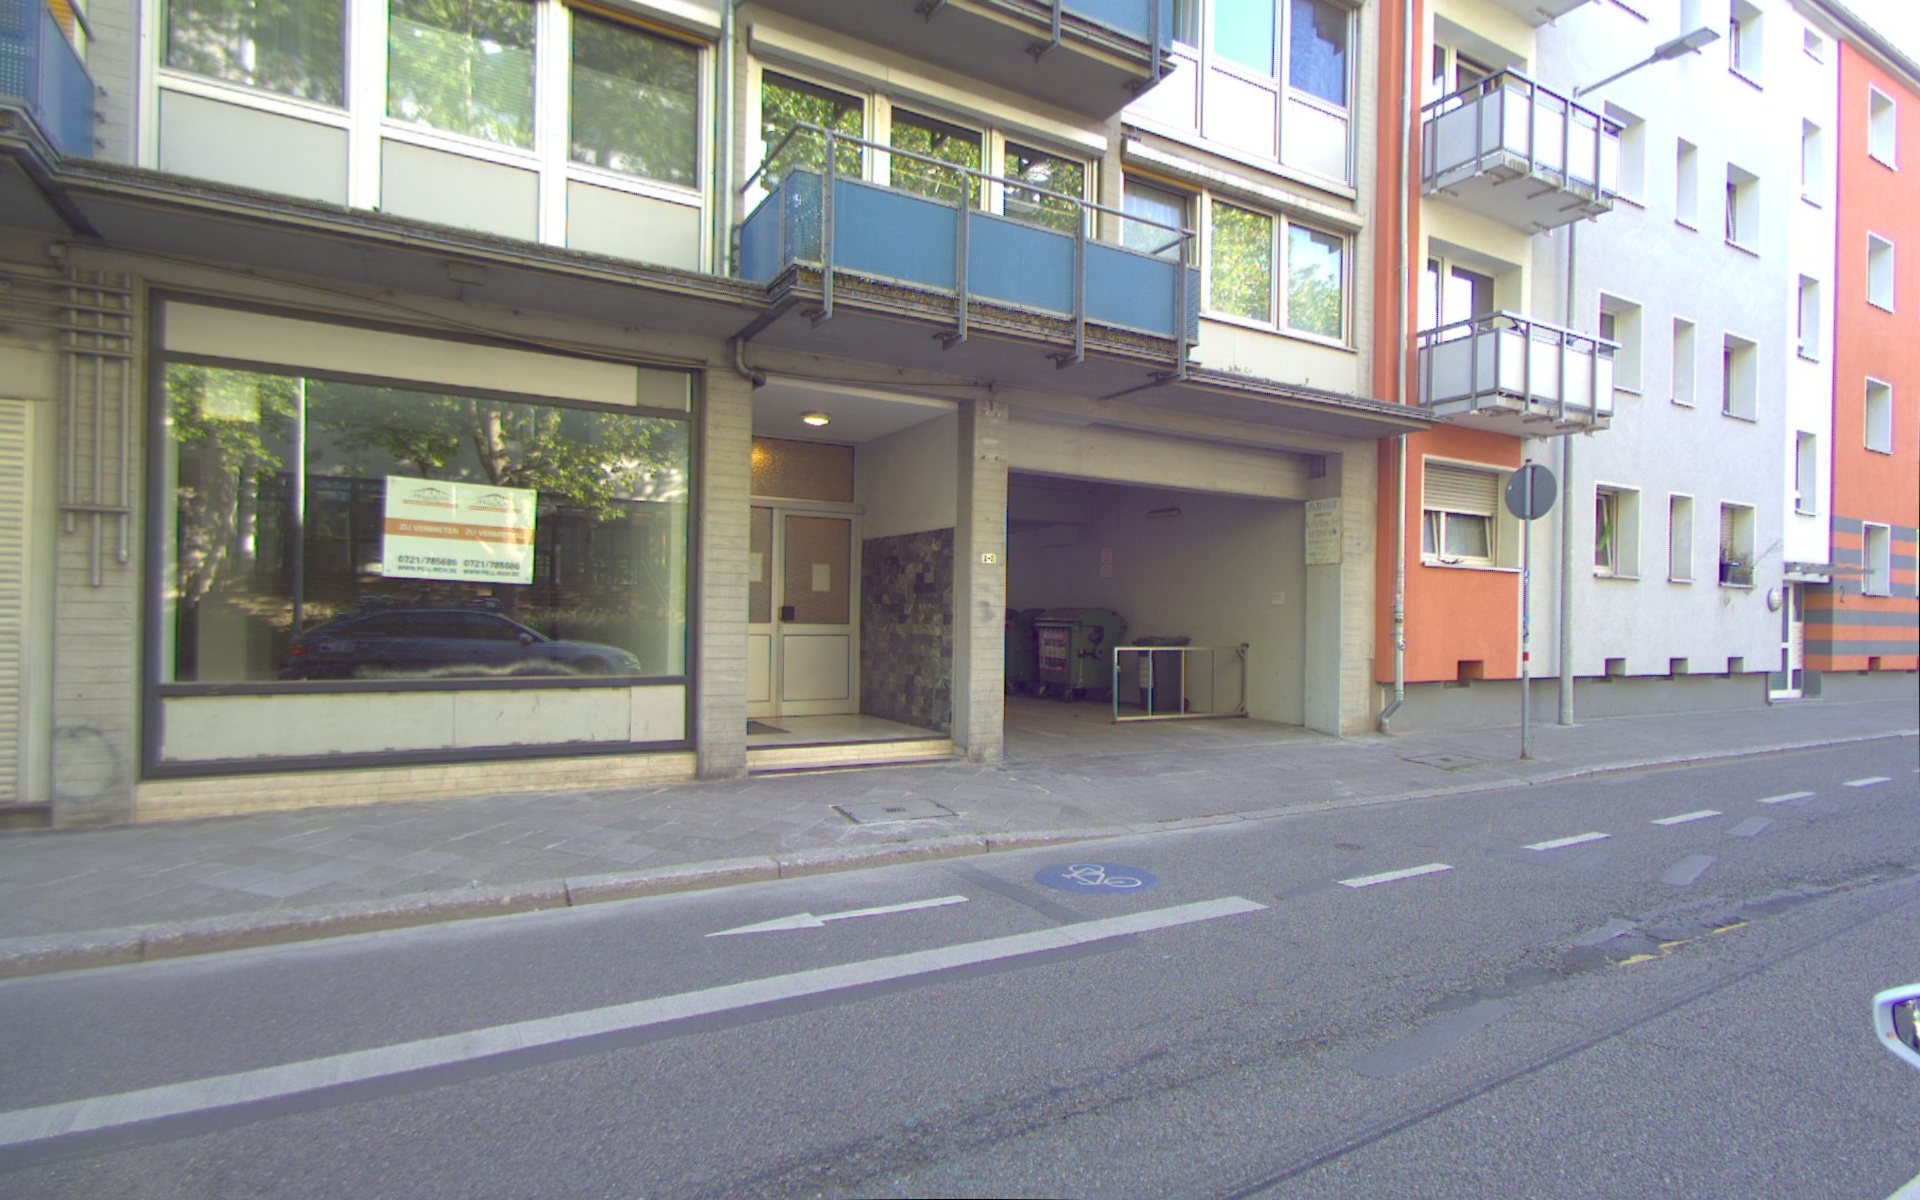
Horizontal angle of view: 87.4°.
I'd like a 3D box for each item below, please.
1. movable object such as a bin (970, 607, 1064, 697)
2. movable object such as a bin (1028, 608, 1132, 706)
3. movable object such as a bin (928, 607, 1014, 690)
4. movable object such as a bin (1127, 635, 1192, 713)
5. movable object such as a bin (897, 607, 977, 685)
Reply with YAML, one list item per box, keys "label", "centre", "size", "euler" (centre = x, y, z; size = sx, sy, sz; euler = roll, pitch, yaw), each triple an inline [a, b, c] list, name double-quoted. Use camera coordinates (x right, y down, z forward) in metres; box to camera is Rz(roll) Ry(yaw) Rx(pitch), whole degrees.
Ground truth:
- label: "movable object such as a bin"
  centre: [0.964, 0.862, 17.165]
  size: [1.116, 1.444, 1.201]
  euler: [1, 0, -30]
- label: "movable object such as a bin"
  centre: [1.876, 0.868, 15.806]
  size: [1.116, 1.444, 1.201]
  euler: [1, 0, -30]
- label: "movable object such as a bin"
  centre: [0.194, 0.868, 18.464]
  size: [1.116, 1.444, 1.201]
  euler: [1, 0, -30]
- label: "movable object such as a bin"
  centre: [2.874, 1.050, 14.496]
  size: [0.667, 1.079, 0.639]
  euler: [1, 0, -30]
- label: "movable object such as a bin"
  centre: [-0.453, 0.875, 19.612]
  size: [1.116, 1.444, 1.201]
  euler: [1, 0, -30]
